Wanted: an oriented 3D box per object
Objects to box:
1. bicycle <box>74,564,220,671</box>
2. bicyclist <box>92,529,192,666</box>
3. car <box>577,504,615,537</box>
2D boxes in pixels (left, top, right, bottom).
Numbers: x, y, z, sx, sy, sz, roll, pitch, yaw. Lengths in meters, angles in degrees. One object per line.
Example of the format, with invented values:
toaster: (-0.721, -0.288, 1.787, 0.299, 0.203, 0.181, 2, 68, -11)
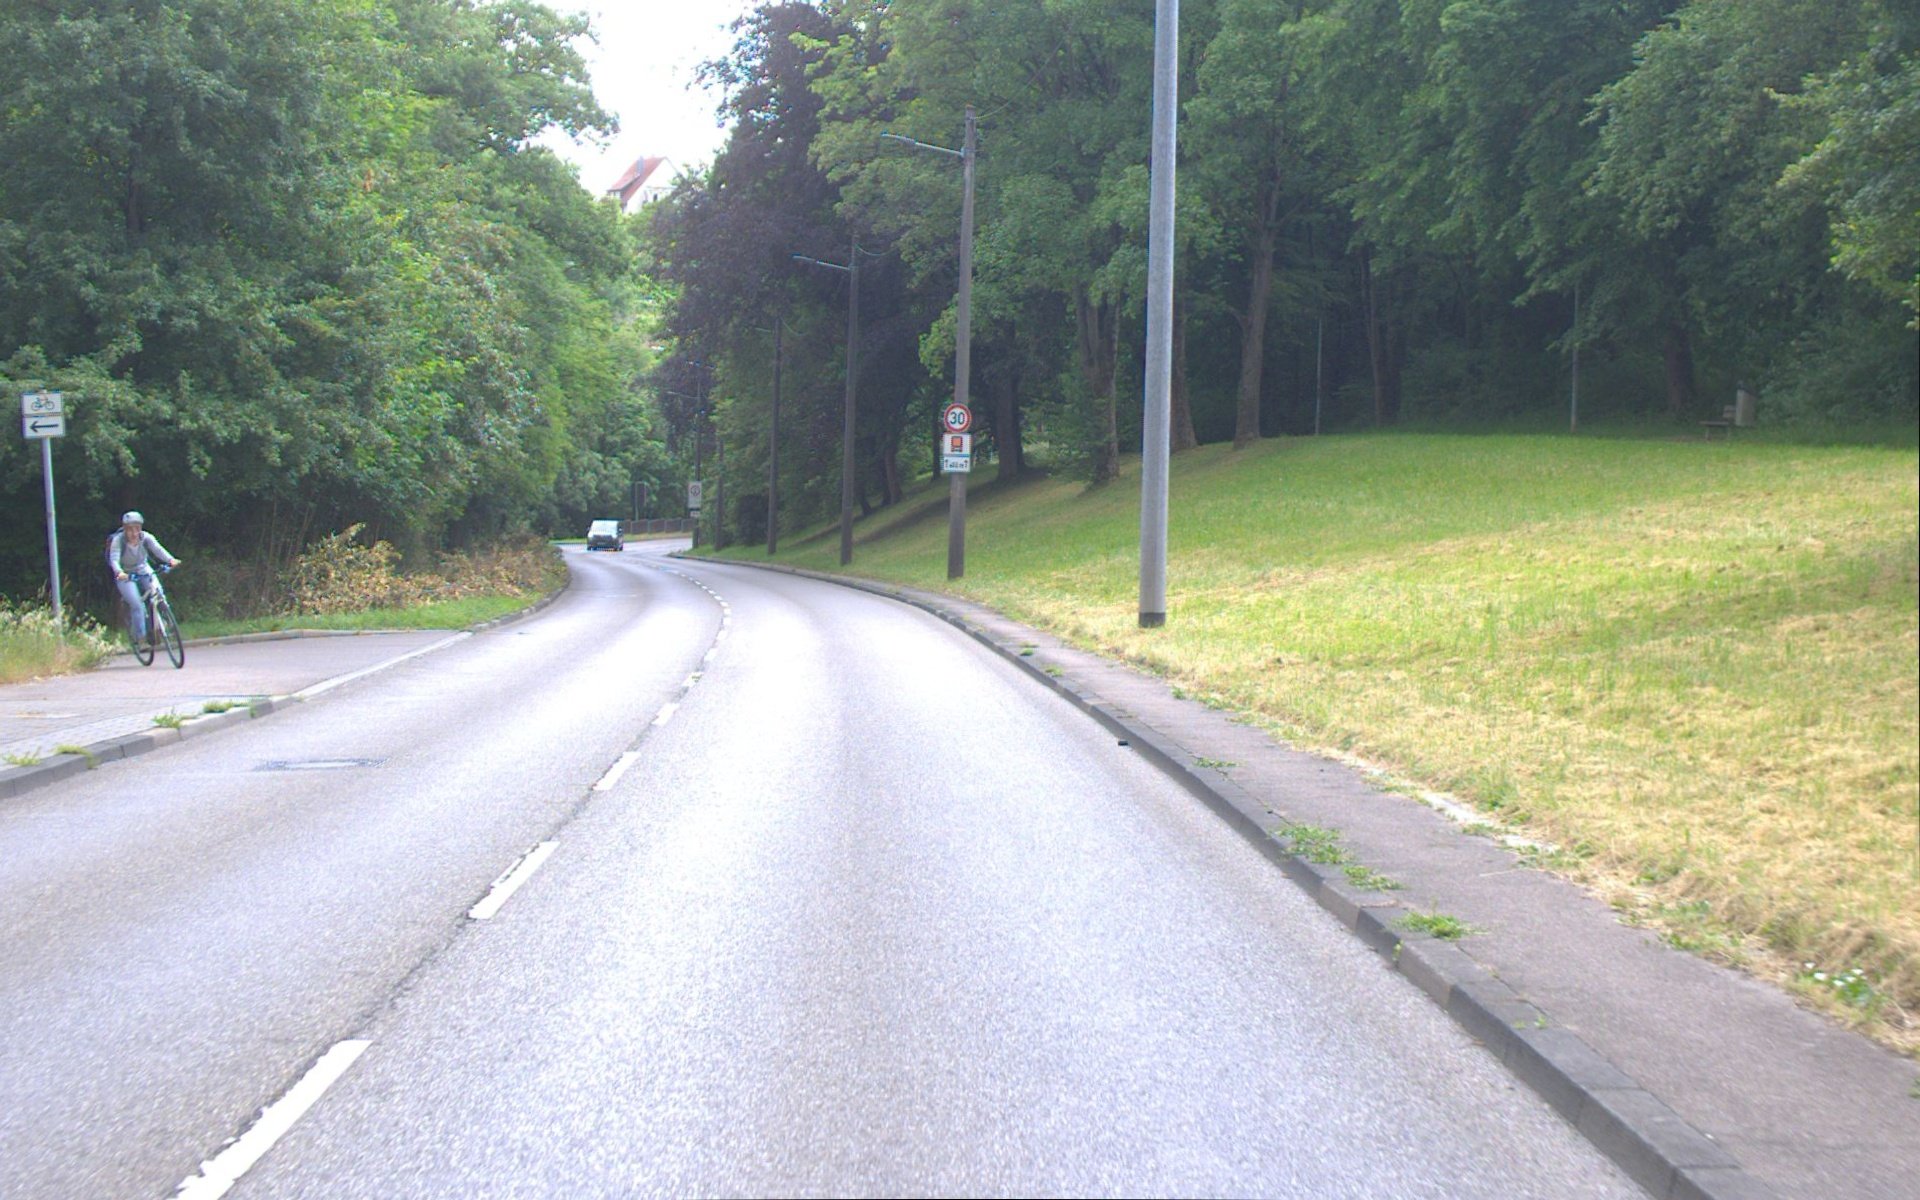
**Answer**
bicycle: (-8.624, 0.168, 36.398, 0.829, 1.033, 2.443, 2, 1, -29)
bicyclist: (-8.658, -0.032, 36.394, 0.826, 1.423, 0.781, 1, 1, -29)
car: (-22.975, -5.003, 217.035, 1.993, 2.007, 4.000, 2, 1, -1)
